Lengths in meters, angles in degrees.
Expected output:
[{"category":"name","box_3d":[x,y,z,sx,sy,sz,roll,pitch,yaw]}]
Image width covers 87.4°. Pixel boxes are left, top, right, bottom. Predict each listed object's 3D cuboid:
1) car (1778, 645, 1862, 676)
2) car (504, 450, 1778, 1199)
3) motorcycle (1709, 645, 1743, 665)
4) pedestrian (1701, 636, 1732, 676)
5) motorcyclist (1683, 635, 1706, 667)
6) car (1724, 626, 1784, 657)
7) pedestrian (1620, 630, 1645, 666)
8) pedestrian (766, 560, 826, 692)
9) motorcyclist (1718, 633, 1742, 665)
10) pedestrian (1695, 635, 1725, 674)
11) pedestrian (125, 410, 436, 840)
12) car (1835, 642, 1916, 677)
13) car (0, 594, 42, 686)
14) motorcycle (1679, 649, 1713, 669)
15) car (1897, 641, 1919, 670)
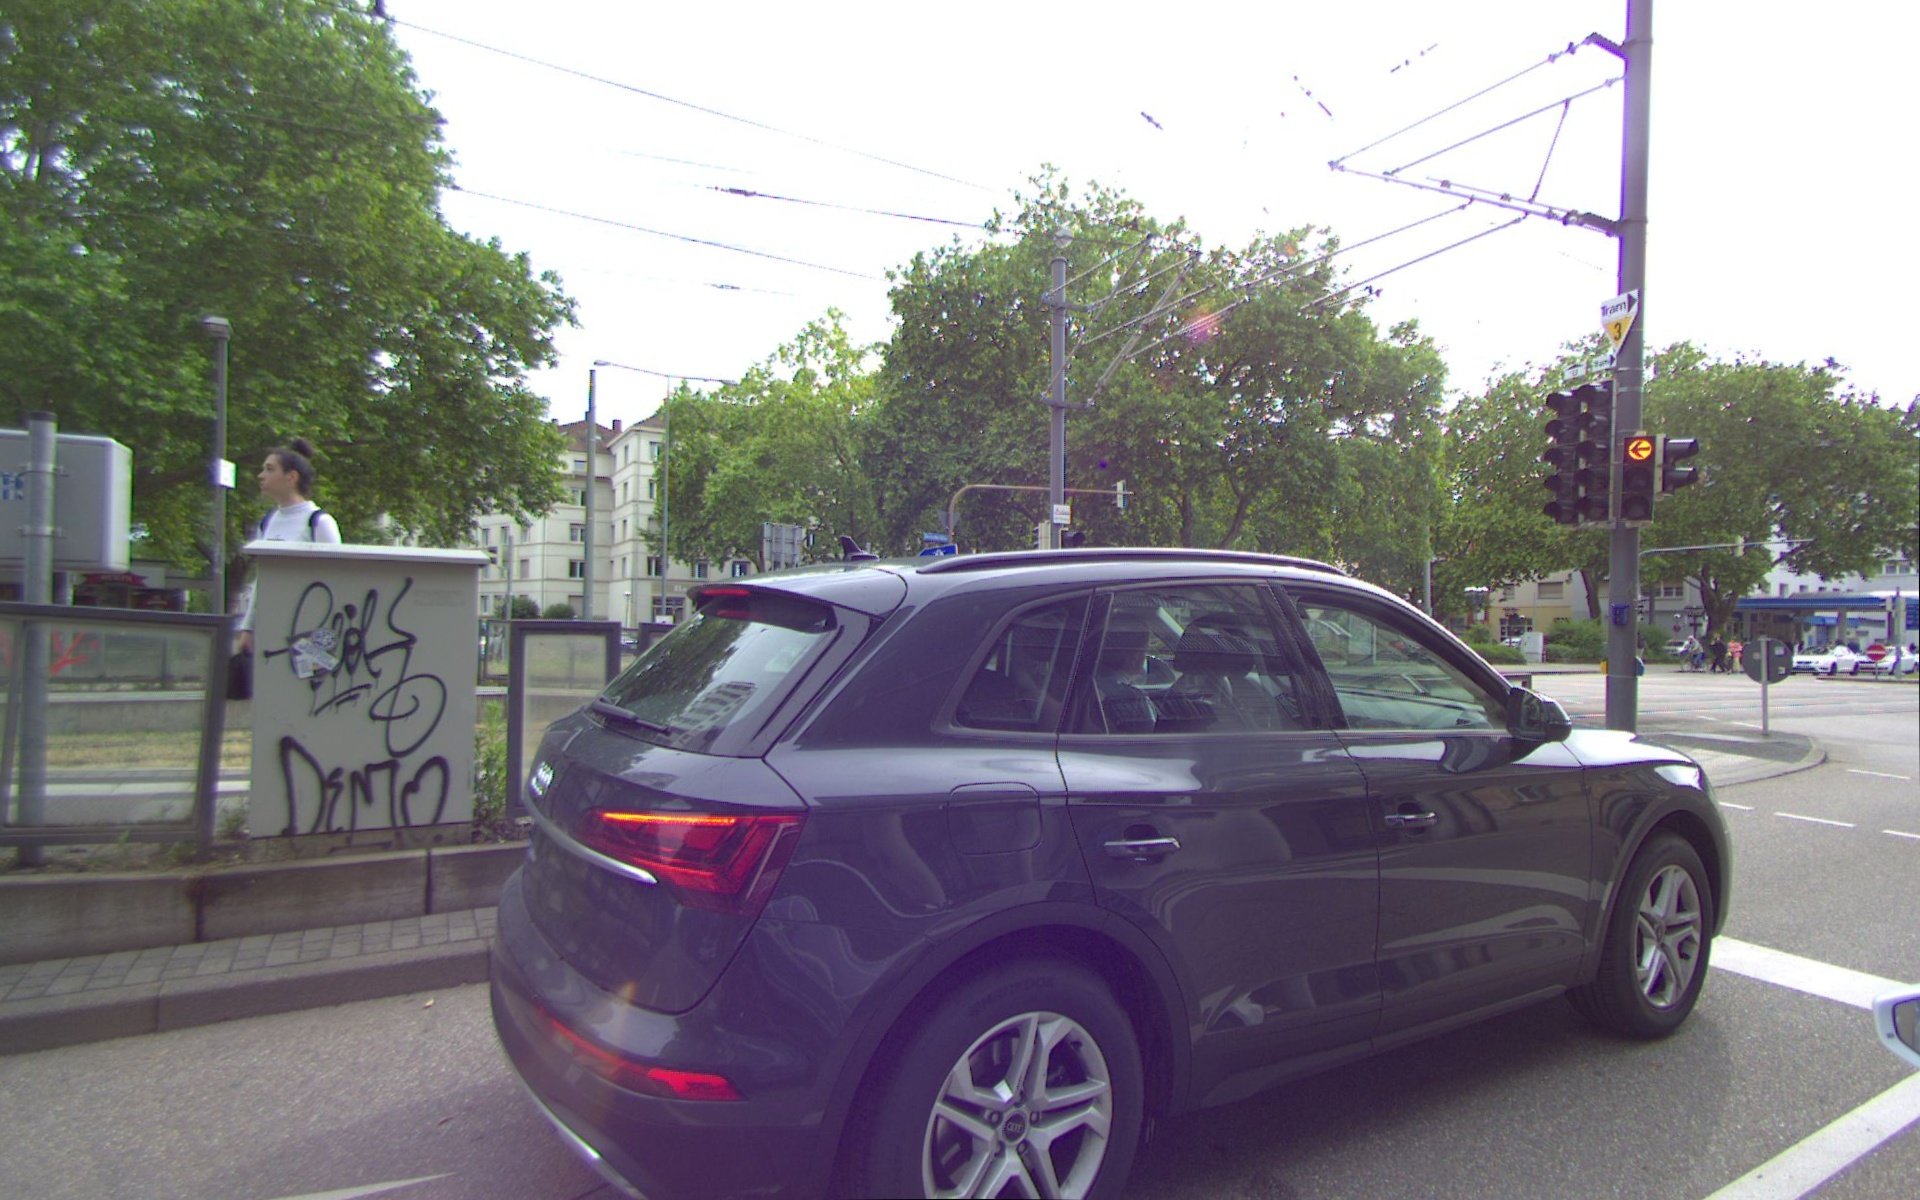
[{"category":"car","box_3d":[41.389,2.907,48.340,4.025,1.338,1.739,2,0,-29]},{"category":"car","box_3d":[0.818,0.635,3.451,4.177,1.658,1.725,2,0,-30]},{"category":"motorcycle","box_3d":[36.920,2.664,48.426,1.928,0.941,0.604,2,-1,-30]},{"category":"pedestrian","box_3d":[34.412,2.539,45.692,0.865,1.735,0.867,2,-1,-31]},{"category":"motorcyclist","box_3d":[35.794,2.479,48.938,0.863,1.540,0.617,2,-1,-30]},{"category":"car","box_3d":[54.868,2.888,69.379,3.953,2.040,1.984,2,-1,-30]},{"category":"pedestrian","box_3d":[32.613,2.305,48.696,0.732,1.713,0.681,2,0,-25]},{"category":"pedestrian","box_3d":[-2.538,0.399,15.540,0.658,1.976,0.732,2,0,-30]},{"category":"motorcyclist","box_3d":[37.225,2.363,48.564,0.863,1.540,0.617,2,-1,-30]},{"category":"pedestrian","box_3d":[33.750,2.436,45.229,0.682,1.735,0.864,1,-1,-26]},{"category":"pedestrian","box_3d":[-3.065,0.103,4.565,0.710,1.692,0.975,2,0,39]},{"category":"car","box_3d":[46.968,3.020,51.514,3.953,1.615,1.984,2,0,-30]},{"category":"car","box_3d":[-16.351,0.601,15.278,1.555,1.447,3.213,0,-1,31]},{"category":"motorcycle","box_3d":[35.935,2.858,49.021,1.928,0.941,0.604,2,-1,-30]},{"category":"car","box_3d":[52.772,3.032,54.597,3.593,1.497,1.649,2,0,-29]}]
